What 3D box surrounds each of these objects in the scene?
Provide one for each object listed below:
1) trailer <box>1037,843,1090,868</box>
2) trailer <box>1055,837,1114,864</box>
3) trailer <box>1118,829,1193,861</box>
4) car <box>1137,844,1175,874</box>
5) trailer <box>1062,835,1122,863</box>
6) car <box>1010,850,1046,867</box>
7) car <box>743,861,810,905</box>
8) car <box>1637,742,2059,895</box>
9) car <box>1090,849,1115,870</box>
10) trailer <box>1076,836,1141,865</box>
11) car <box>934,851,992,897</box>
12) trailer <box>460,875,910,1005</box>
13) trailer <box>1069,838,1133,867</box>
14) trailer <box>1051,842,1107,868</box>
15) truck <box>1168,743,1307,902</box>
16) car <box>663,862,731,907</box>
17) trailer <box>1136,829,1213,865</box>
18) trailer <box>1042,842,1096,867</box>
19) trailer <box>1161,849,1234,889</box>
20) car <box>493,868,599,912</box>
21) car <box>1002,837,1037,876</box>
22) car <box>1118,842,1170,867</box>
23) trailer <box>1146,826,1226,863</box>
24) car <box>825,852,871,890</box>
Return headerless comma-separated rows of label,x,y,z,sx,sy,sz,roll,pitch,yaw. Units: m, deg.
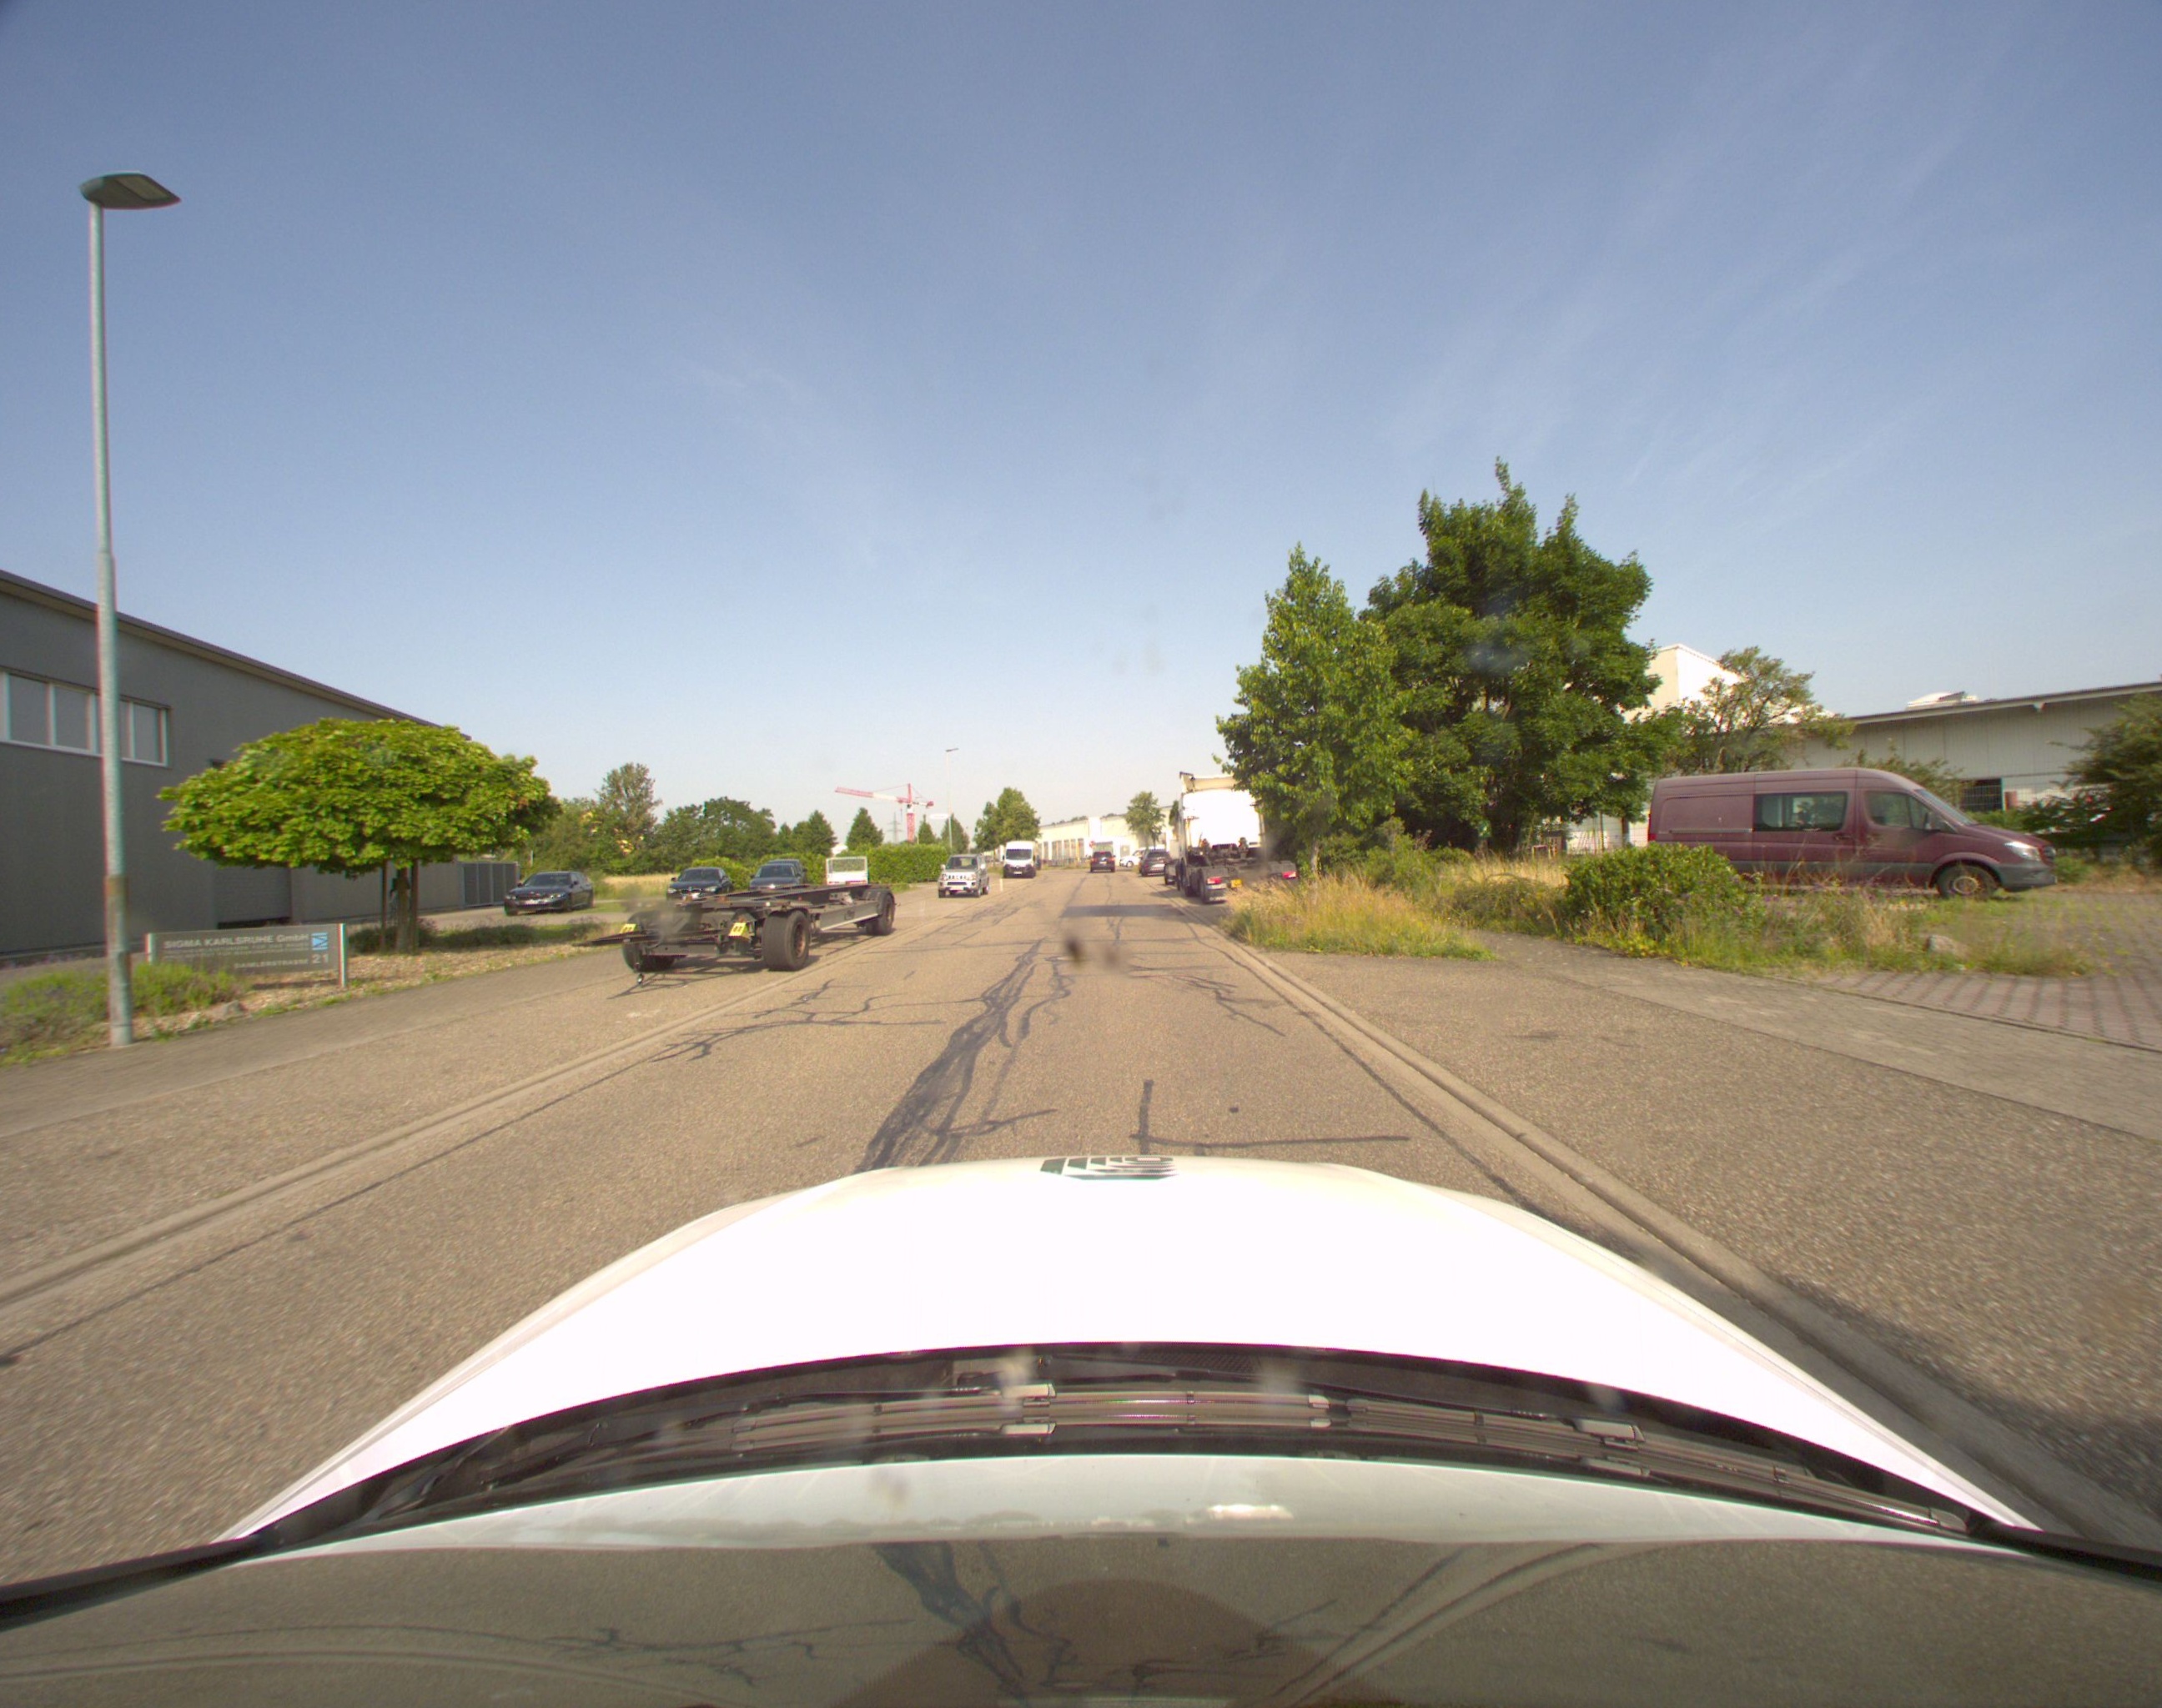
trailer,-2.811,0.195,129.589,7.995,3.894,2.755,0,-1,-23
trailer,0.518,-0.498,120.273,8.341,3.894,2.755,0,-1,-23
trailer,9.131,-1.088,99.484,8.767,3.761,2.770,-1,-1,-22
car,4.378,0.301,48.192,1.874,1.574,4.114,-3,-1,1
trailer,1.592,-0.658,117.428,8.341,3.894,2.755,0,-1,-23
car,-5.537,0.517,83.932,1.982,1.574,4.071,-2,-1,-32
car,-11.372,1.022,30.708,1.980,1.476,4.397,-2,0,-16
car,15.226,-0.575,16.585,2.588,2.525,5.977,1,-1,-40
car,1.660,0.438,63.053,1.874,1.586,4.114,-1,-1,1
trailer,3.727,-0.431,111.631,8.571,3.894,2.755,0,-1,-23
car,-4.625,0.757,32.373,1.591,1.651,3.645,-2,0,1
trailer,-5.285,1.047,13.633,2.536,1.074,9.735,-1,0,1
trailer,2.825,-0.158,114.708,8.571,3.894,2.755,0,-1,-23
trailer,-0.284,0.214,124.188,8.066,3.894,2.755,0,-1,-23
truck,4.419,-0.823,24.336,2.683,3.964,6.046,-4,0,0
car,-13.974,1.054,29.877,1.684,1.476,4.324,-2,0,-18
trailer,10.948,-0.847,95.517,8.568,3.893,2.756,-3,0,-21
trailer,-1.834,0.116,126.750,7.995,3.894,2.755,0,-1,-23
trailer,4.381,0.515,31.865,1.931,1.235,7.453,-4,0,1
car,-18.653,1.204,28.617,1.995,1.324,4.324,-2,0,-18
car,-4.235,0.173,57.140,2.096,2.595,6.500,0,0,-1
car,5.851,0.093,76.383,4.596,2.110,2.127,-2,-1,-1
trailer,11.912,-1.066,92.569,8.565,3.894,2.756,-2,-3,-20
car,-10.265,0.735,35.990,1.837,1.572,3.796,0,-1,-15
